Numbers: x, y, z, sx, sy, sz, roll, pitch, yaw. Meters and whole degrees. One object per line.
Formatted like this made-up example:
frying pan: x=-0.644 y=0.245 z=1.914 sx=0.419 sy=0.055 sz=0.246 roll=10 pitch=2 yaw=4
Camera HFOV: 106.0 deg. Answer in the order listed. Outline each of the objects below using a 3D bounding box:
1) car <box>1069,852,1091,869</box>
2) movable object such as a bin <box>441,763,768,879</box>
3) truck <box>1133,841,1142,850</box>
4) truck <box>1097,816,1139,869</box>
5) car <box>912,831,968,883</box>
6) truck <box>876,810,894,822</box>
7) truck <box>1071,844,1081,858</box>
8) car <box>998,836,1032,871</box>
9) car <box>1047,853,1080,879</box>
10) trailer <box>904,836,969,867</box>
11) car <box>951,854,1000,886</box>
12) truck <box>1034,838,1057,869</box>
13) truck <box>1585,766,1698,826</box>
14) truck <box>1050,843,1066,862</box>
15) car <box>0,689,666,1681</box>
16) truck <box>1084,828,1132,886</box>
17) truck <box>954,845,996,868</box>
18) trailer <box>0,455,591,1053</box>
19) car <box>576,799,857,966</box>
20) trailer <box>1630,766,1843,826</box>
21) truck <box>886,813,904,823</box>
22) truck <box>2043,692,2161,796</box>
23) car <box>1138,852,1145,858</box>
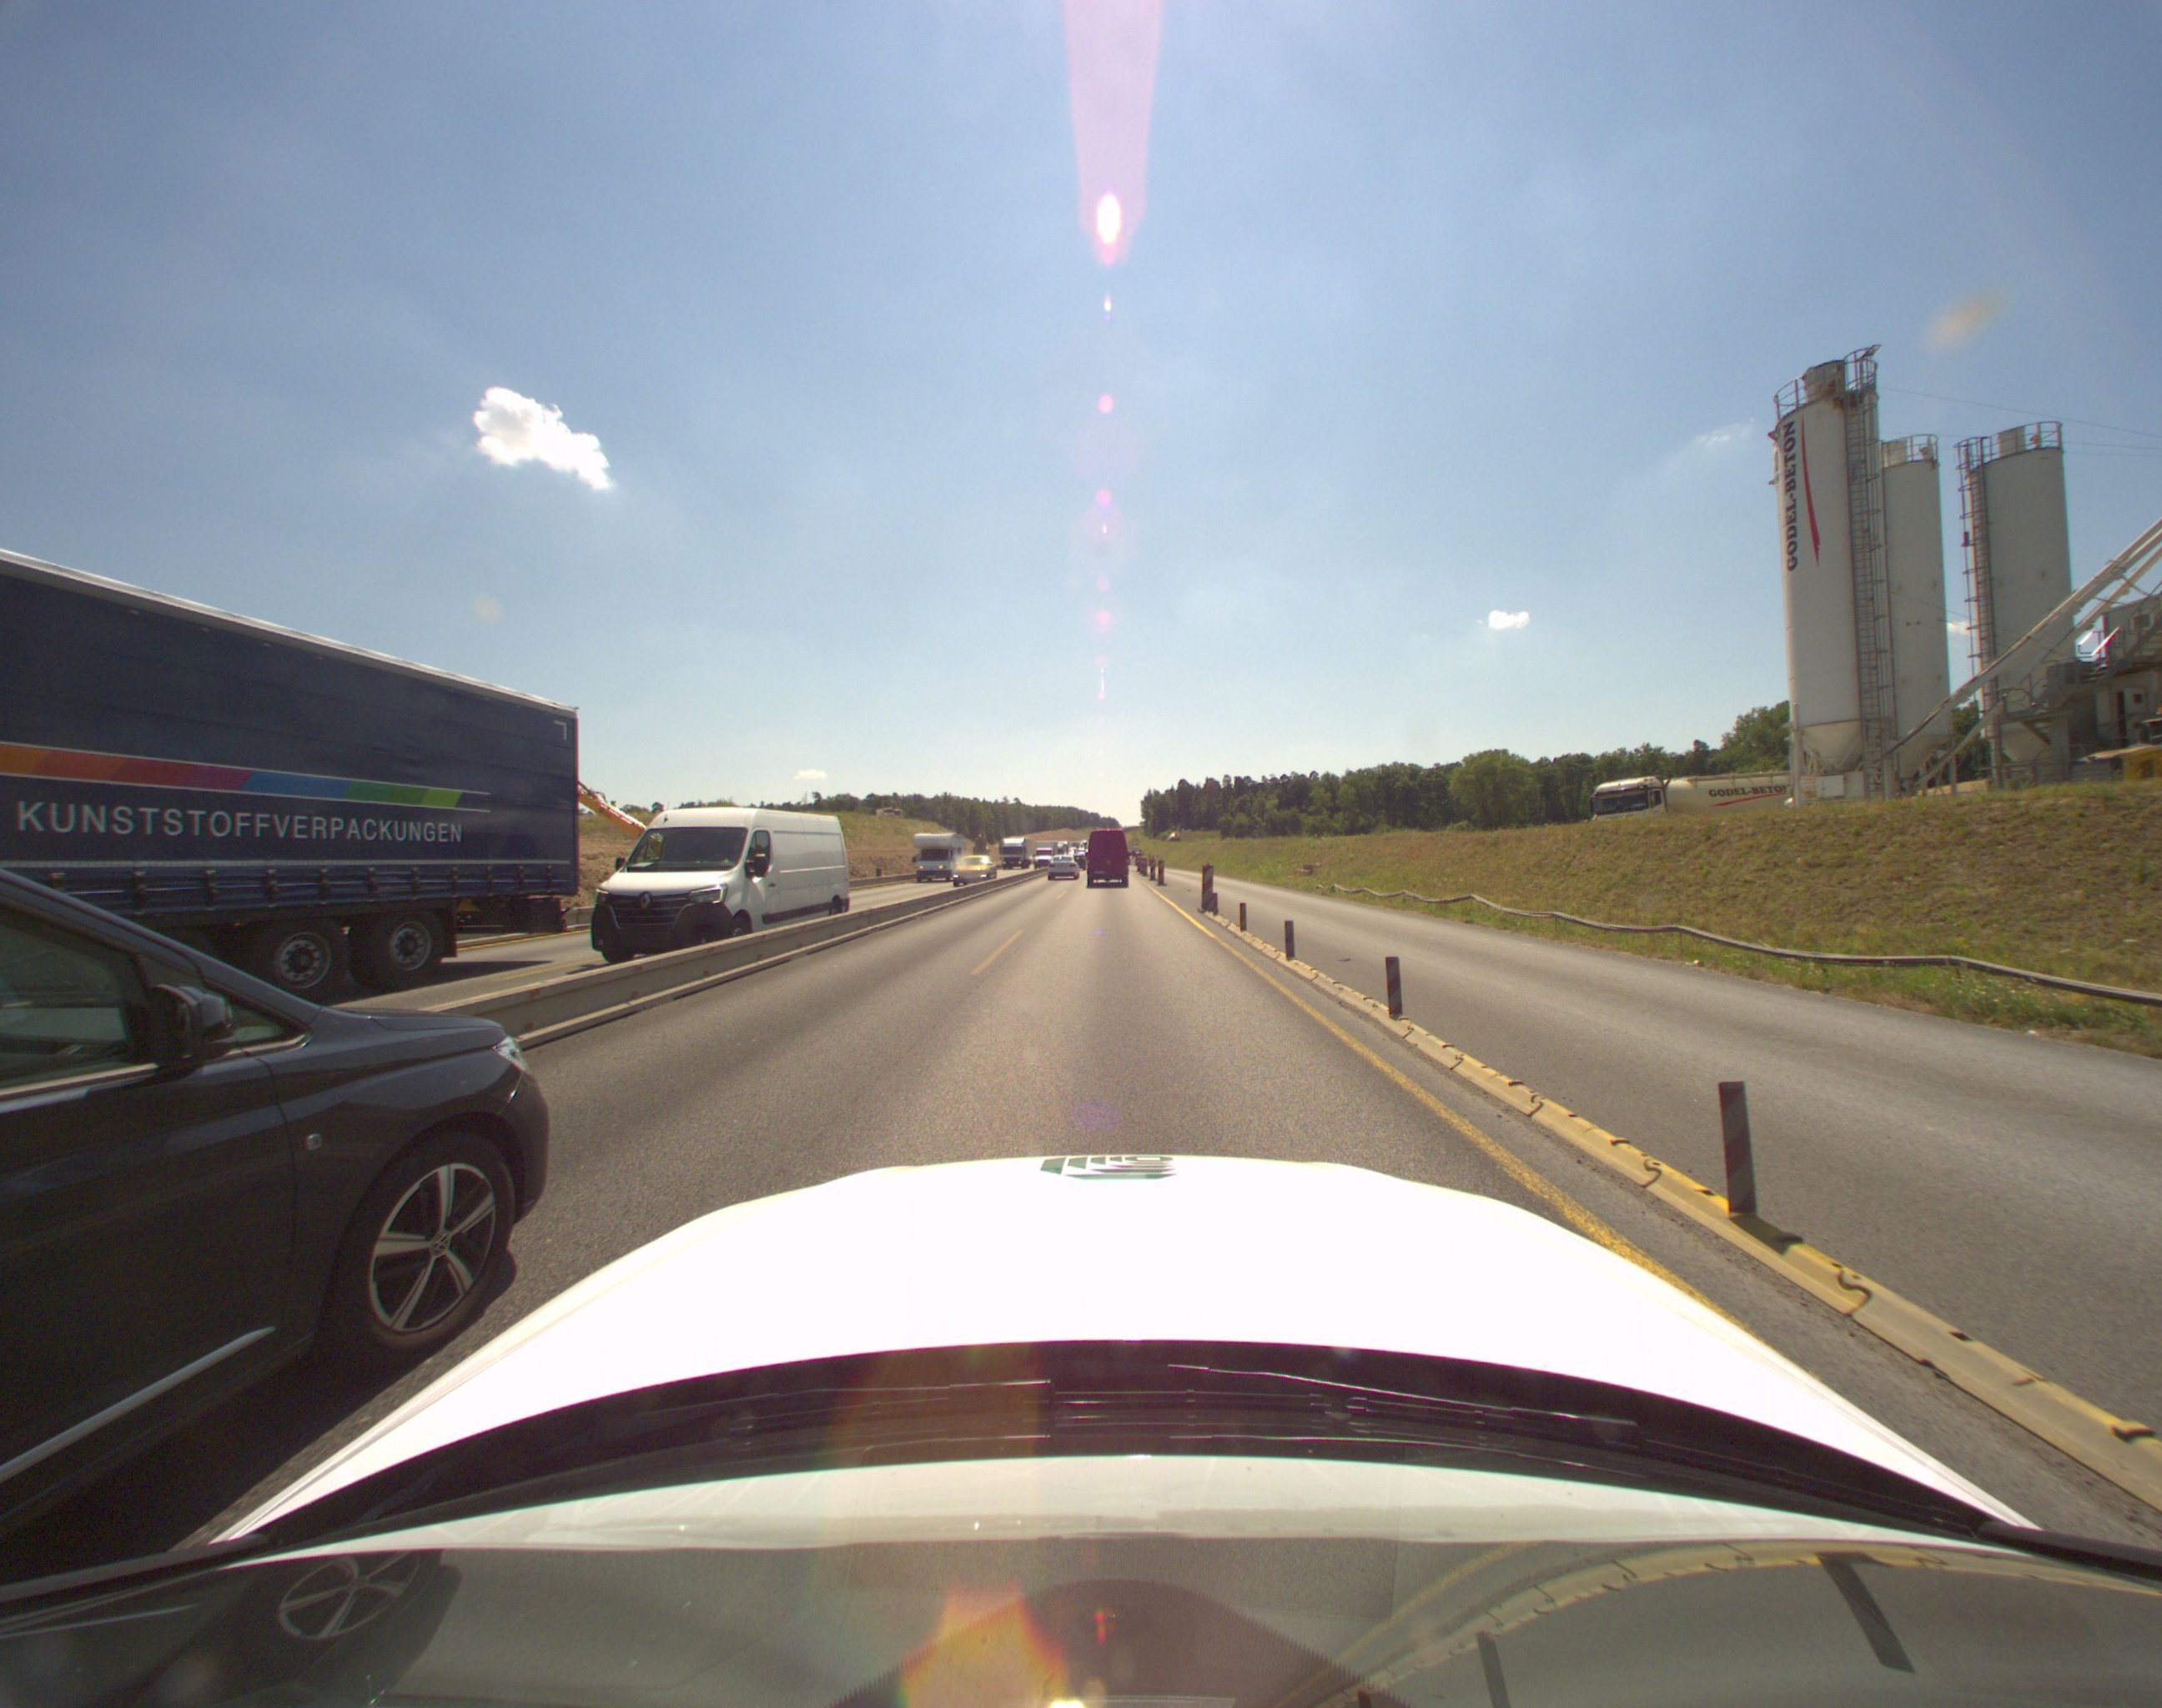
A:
car: x=-0.078 y=0.575 z=76.406 sx=1.959 sy=1.541 sz=4.313 roll=0 pitch=1 yaw=2
movable object such as a bin: x=-28.932 y=-1.942 z=49.970 sx=18.154 sy=6.773 sz=3.389 roll=0 pitch=-1 yaw=1
truck: x=15.691 y=-2.359 z=226.729 sx=2.117 sy=2.457 sz=5.940 roll=0 pitch=1 yaw=9
truck: x=4.142 y=-1.172 z=92.990 sx=4.383 sy=5.496 sz=16.610 roll=0 pitch=0 yaw=2
car: x=-8.565 y=0.187 z=49.963 sx=2.243 sy=2.955 sz=5.851 roll=0 pitch=0 yaw=2
truck: x=-56.005 y=-10.790 z=232.587 sx=2.371 sy=2.898 sz=8.279 roll=0 pitch=-1 yaw=-34
truck: x=-1.612 y=-1.035 z=252.684 sx=2.480 sy=4.198 sz=5.918 roll=-2 pitch=0 yaw=4
car: x=-7.258 y=-0.084 z=90.861 sx=2.897 sy=3.740 sz=8.094 roll=0 pitch=0 yaw=2
car: x=-1.026 y=0.735 z=49.813 sx=1.824 sy=1.522 sz=3.963 roll=0 pitch=0 yaw=2
trailer: x=-19.686 y=-0.258 z=110.880 sx=8.280 sy=4.098 sz=2.811 roll=-1 pitch=-1 yaw=15
car: x=-5.380 y=0.777 z=42.123 sx=1.754 sy=1.574 sz=4.365 roll=-1 pitch=0 yaw=3
truck: x=-3.823 y=-0.011 z=88.129 sx=2.264 sy=3.150 sz=7.310 roll=0 pitch=0 yaw=-1
truck: x=27.282 y=-2.711 z=39.586 sx=5.330 sy=2.544 sz=2.873 roll=0 pitch=-1 yaw=-35
truck: x=-4.515 y=-0.269 z=162.458 sx=2.634 sy=3.716 sz=9.486 roll=0 pitch=0 yaw=2
car: x=-2.869 y=0.615 z=1.364 sx=1.745 sy=1.824 sz=4.785 roll=0 pitch=1 yaw=2
truck: x=1.309 y=0.142 z=39.579 sx=2.145 sy=2.590 sz=5.335 roll=0 pitch=0 yaw=2
truck: x=-14.306 y=0.351 z=110.252 sx=5.074 sy=2.964 sz=2.564 roll=1 pitch=-1 yaw=-28
trailer: x=-9.775 y=-0.757 z=6.990 sx=2.974 sy=4.596 sz=12.889 roll=0 pitch=0 yaw=2
car: x=-5.985 y=0.375 z=14.556 sx=2.027 sy=2.343 sz=6.198 roll=0 pitch=1 yaw=2
trailer: x=32.730 y=-2.872 z=40.836 sx=8.872 sy=2.607 sz=2.462 roll=-1 pitch=-1 yaw=-2
truck: x=-54.917 y=-10.619 z=240.467 sx=2.311 sy=2.749 sz=8.813 roll=0 pitch=-1 yaw=-34
truck: x=35.589 y=-3.349 z=24.693 sx=9.023 sy=2.868 sz=2.464 roll=0 pitch=-1 yaw=7
car: x=15.441 y=0.188 z=208.698 sx=1.647 sy=1.426 sz=4.548 roll=-3 pitch=1 yaw=2
